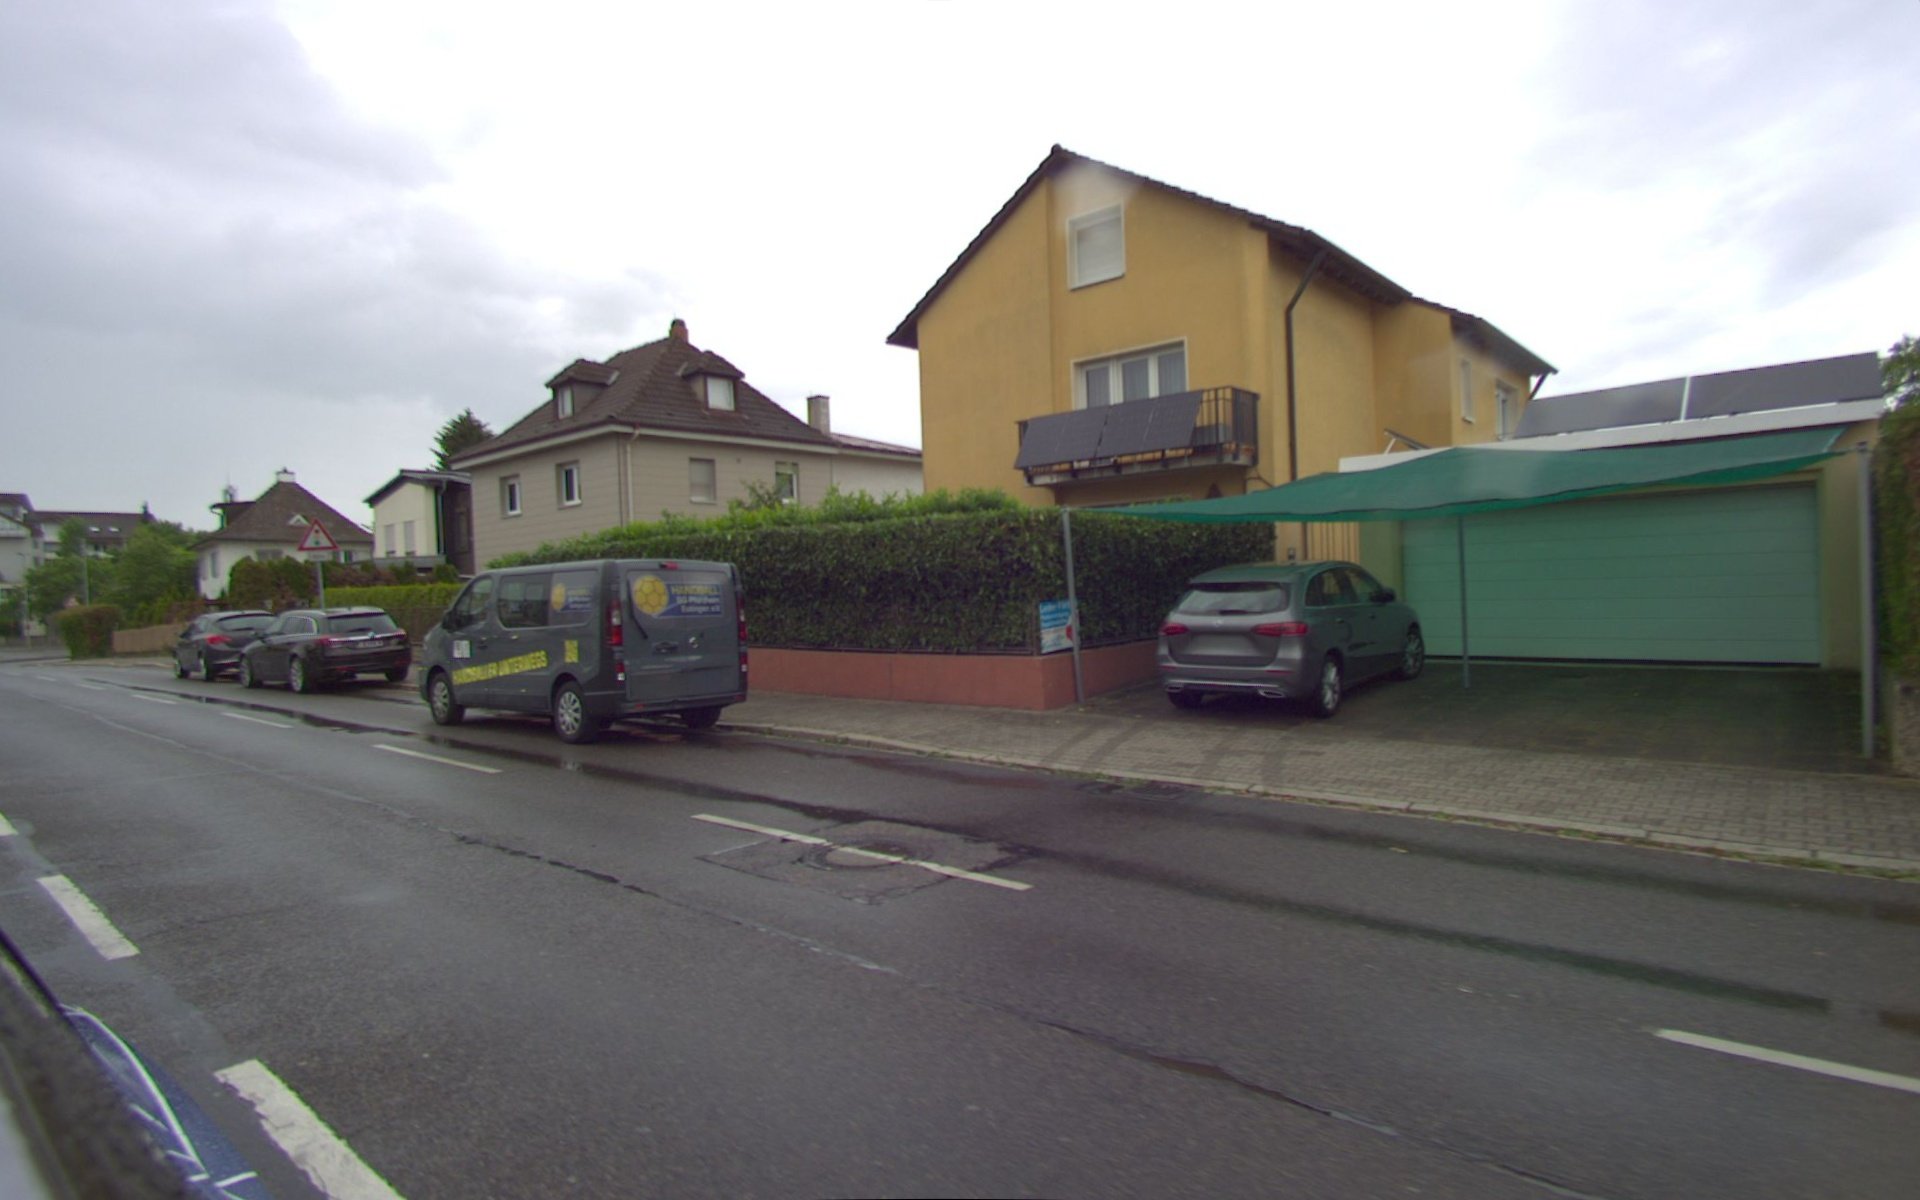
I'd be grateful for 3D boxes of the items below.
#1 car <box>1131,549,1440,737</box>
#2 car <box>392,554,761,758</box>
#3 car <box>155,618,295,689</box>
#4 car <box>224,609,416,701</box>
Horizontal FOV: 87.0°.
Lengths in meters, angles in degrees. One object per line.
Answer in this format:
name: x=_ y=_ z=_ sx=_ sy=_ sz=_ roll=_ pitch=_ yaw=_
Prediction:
car: x=3.843 y=0.342 z=11.536 sx=1.918 sy=1.625 sz=3.919 roll=-1 pitch=3 yaw=41
car: x=-4.844 y=0.579 z=12.371 sx=5.082 sy=2.018 sz=1.894 roll=-1 pitch=0 yaw=39
car: x=-17.035 y=1.174 z=23.389 sx=4.127 sy=1.450 sz=1.732 roll=-1 pitch=0 yaw=41
car: x=-12.275 y=0.979 z=19.303 sx=4.522 sy=1.528 sz=1.733 roll=-1 pitch=0 yaw=39
